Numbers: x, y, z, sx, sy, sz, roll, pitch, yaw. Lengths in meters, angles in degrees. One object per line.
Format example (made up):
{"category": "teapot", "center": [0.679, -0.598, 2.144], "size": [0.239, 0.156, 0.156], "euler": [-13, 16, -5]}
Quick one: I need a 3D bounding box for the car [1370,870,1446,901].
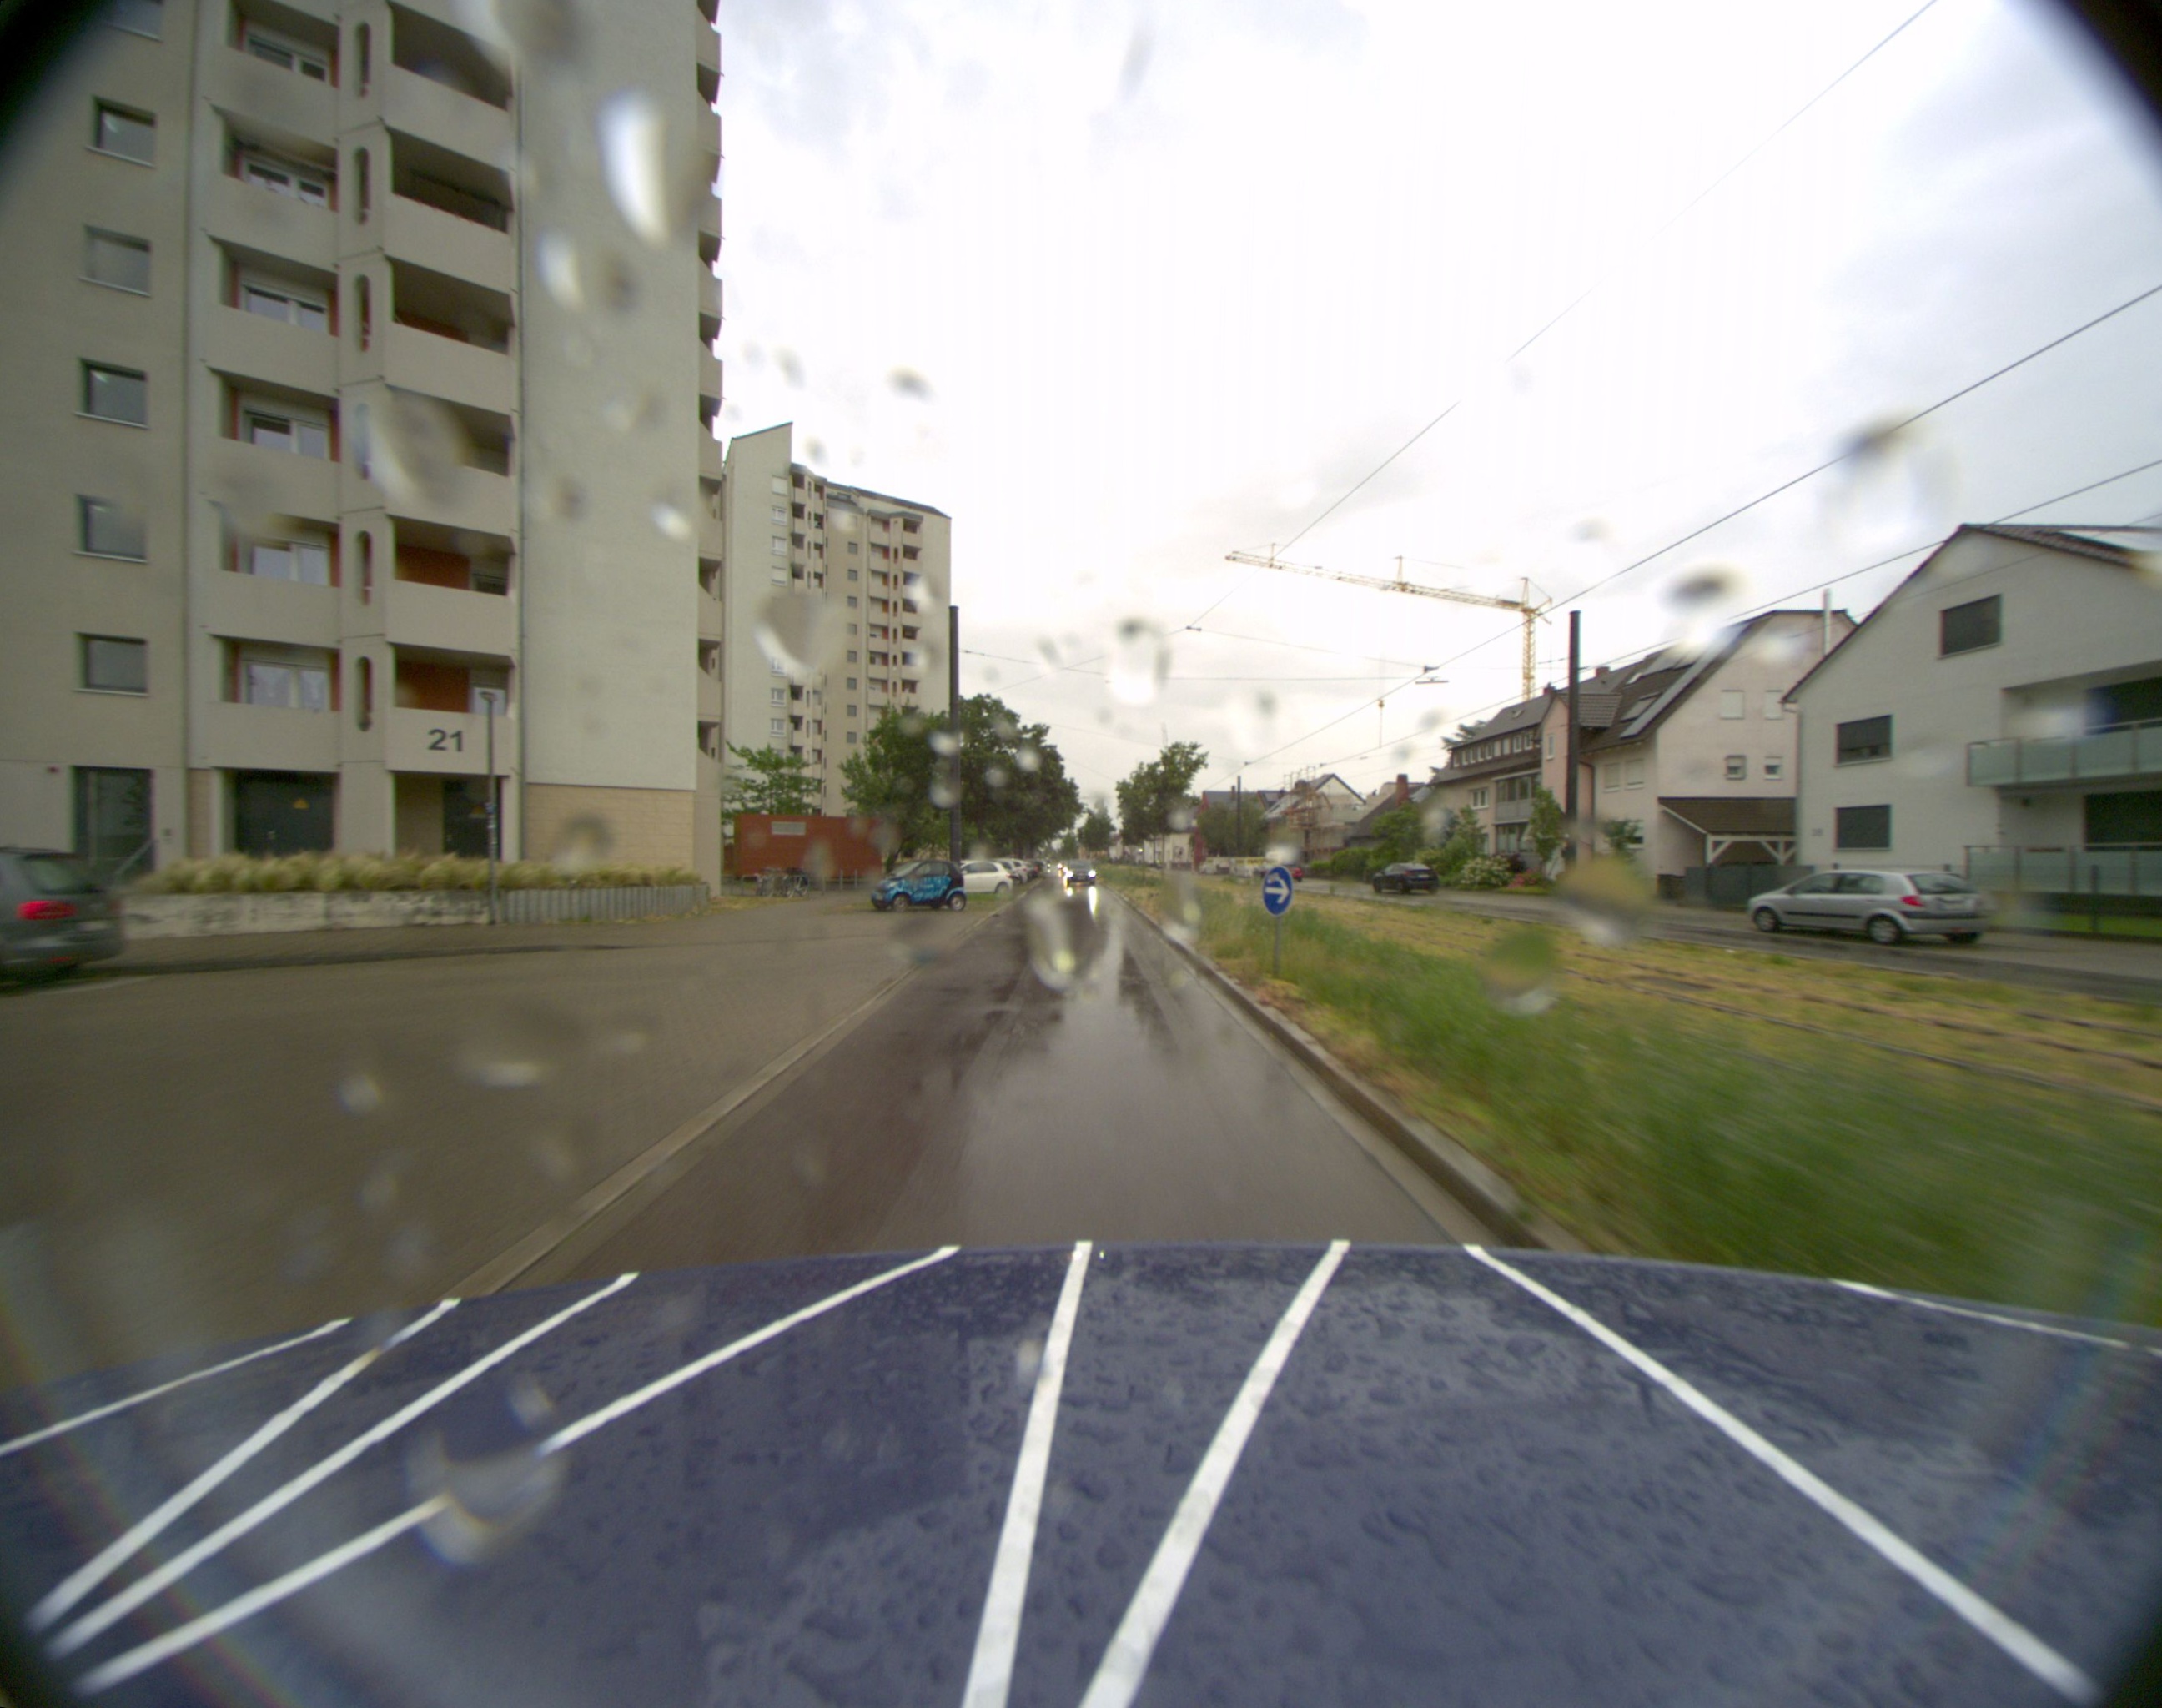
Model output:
{"category": "car", "center": [16.126, 1.543, 37.702], "size": [1.841, 1.418, 4.174], "euler": [-1, -1, -2]}

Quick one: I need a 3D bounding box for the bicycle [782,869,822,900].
{"category": "bicycle", "center": [-9.981, 1.068, 27.281], "size": [0.663, 1.000, 2.058], "euler": [-1, 0, 0]}

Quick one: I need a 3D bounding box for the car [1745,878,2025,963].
{"category": "car", "center": [16.591, 1.297, 15.994], "size": [1.999, 1.405, 3.657], "euler": [-1, 0, -2]}

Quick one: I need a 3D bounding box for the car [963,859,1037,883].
{"category": "car", "center": [-5.320, 1.122, 50.083], "size": [4.471, 1.401, 1.763], "euler": [4, -2, -35]}

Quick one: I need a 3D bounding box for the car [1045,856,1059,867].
{"category": "car", "center": [-4.756, 1.200, 124.742], "size": [1.998, 1.696, 4.000], "euler": [-1, 0, 1]}

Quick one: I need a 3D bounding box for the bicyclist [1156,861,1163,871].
{"category": "bicyclist", "center": [13.200, 2.047, 127.798], "size": [0.956, 1.575, 1.400], "euler": [-1, 1, -1]}

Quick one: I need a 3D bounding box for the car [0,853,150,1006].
{"category": "car", "center": [-13.280, 0.837, 7.920], "size": [4.119, 1.607, 1.811], "euler": [-1, -1, -30]}

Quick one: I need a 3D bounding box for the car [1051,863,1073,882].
{"category": "car", "center": [-1.864, 1.867, 76.303], "size": [1.998, 1.761, 4.000], "euler": [-1, 0, 1]}

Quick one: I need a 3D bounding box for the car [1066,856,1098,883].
{"category": "car", "center": [0.028, 0.980, 48.796], "size": [1.999, 1.611, 3.999], "euler": [-1, 0, -1]}

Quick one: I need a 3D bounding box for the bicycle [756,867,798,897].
{"category": "bicycle", "center": [-10.980, 0.980, 27.537], "size": [0.663, 1.000, 2.058], "euler": [-1, 0, 0]}

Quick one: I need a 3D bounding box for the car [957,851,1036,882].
{"category": "car", "center": [-5.186, 0.778, 46.936], "size": [4.472, 1.661, 1.807], "euler": [4, -2, -40]}

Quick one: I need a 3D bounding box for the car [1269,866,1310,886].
{"category": "car", "center": [15.994, 1.695, 58.506], "size": [1.999, 1.365, 3.842], "euler": [-1, 0, -2]}

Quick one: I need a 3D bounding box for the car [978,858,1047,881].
{"category": "car", "center": [-4.790, 1.085, 53.337], "size": [4.470, 1.419, 1.680], "euler": [4, -2, -34]}

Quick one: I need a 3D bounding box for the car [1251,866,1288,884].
{"category": "car", "center": [15.773, 1.758, 63.742], "size": [1.999, 1.401, 4.175], "euler": [-1, -2, -2]}

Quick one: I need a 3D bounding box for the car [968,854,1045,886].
{"category": "car", "center": [-4.328, 0.954, 44.475], "size": [4.195, 1.661, 1.680], "euler": [4, -2, -37]}

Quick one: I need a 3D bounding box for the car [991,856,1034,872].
{"category": "car", "center": [-7.161, 1.008, 79.499], "size": [4.056, 1.479, 1.720], "euler": [4, -2, -36]}

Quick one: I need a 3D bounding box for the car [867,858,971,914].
{"category": "car", "center": [-4.816, 0.913, 22.646], "size": [2.570, 1.539, 1.598], "euler": [1, 0, -40]}

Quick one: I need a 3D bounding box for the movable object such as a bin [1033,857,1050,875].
{"category": "movable object such as a bin", "center": [-3.599, 1.083, 69.391], "size": [1.165, 1.553, 1.372], "euler": [-1, 1, -24]}

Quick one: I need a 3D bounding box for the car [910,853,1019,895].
{"category": "car", "center": [-4.867, 0.862, 32.100], "size": [4.196, 1.538, 1.760], "euler": [4, -2, -40]}

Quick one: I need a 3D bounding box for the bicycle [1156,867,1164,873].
{"category": "bicycle", "center": [13.245, 2.692, 127.322], "size": [0.937, 1.037, 3.433], "euler": [1, 0, -2]}
